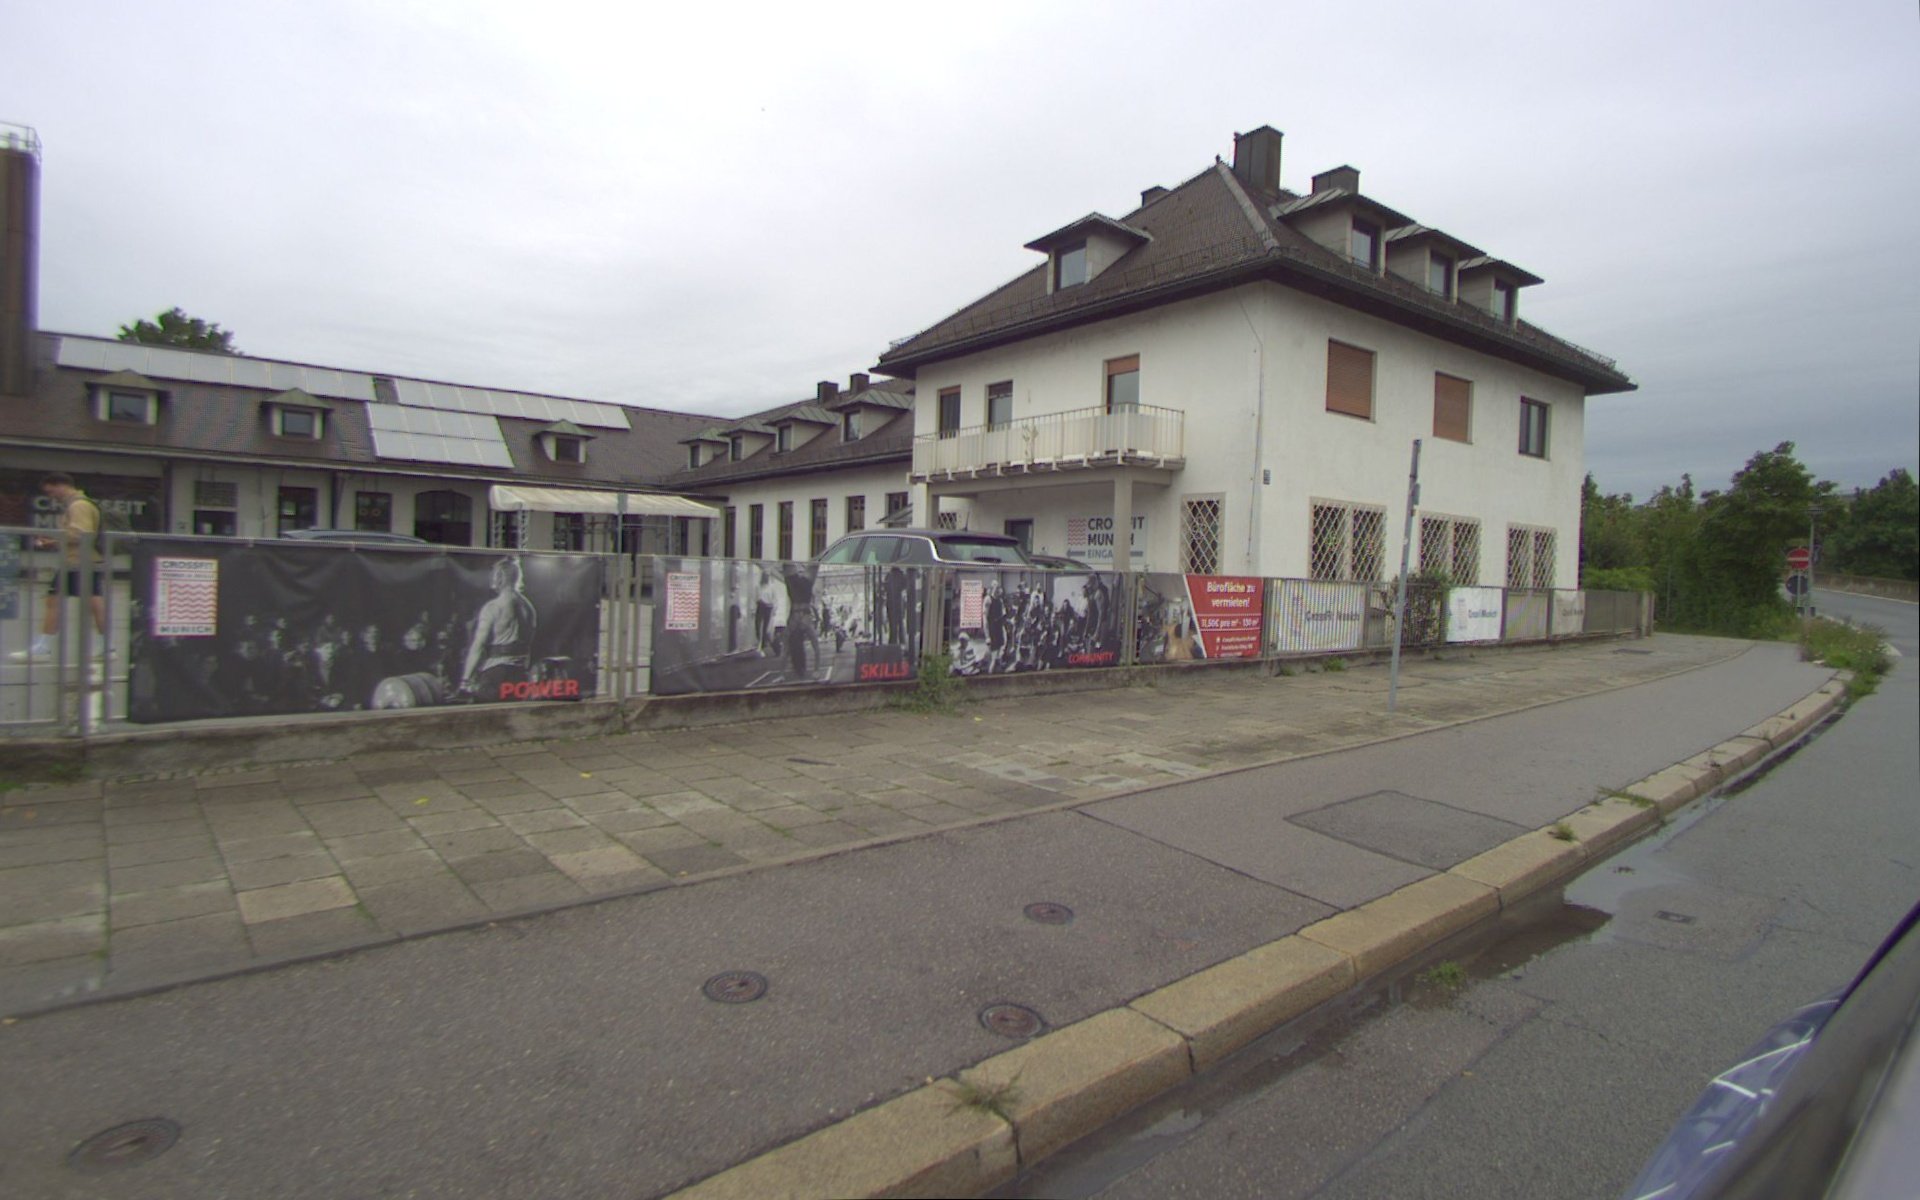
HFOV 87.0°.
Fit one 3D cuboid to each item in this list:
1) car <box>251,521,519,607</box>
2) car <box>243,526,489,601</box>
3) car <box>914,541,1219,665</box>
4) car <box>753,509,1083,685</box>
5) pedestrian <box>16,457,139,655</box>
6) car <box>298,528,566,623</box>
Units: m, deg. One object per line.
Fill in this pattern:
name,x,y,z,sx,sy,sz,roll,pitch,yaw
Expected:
car,-11.377,-0.666,20.147,4.452,1.530,1.927,0,2,-35
car,-13.084,-0.769,22.426,4.542,1.487,1.927,0,2,-35
car,1.337,-0.033,14.169,1.892,1.468,4.106,0,2,-39
car,-0.672,-0.104,12.262,1.892,1.747,4.106,0,2,-39
pedestrian,-9.069,-0.437,10.419,0.916,1.925,0.734,0,1,-42
car,-9.319,-0.408,18.019,4.028,1.512,1.929,0,2,-31
